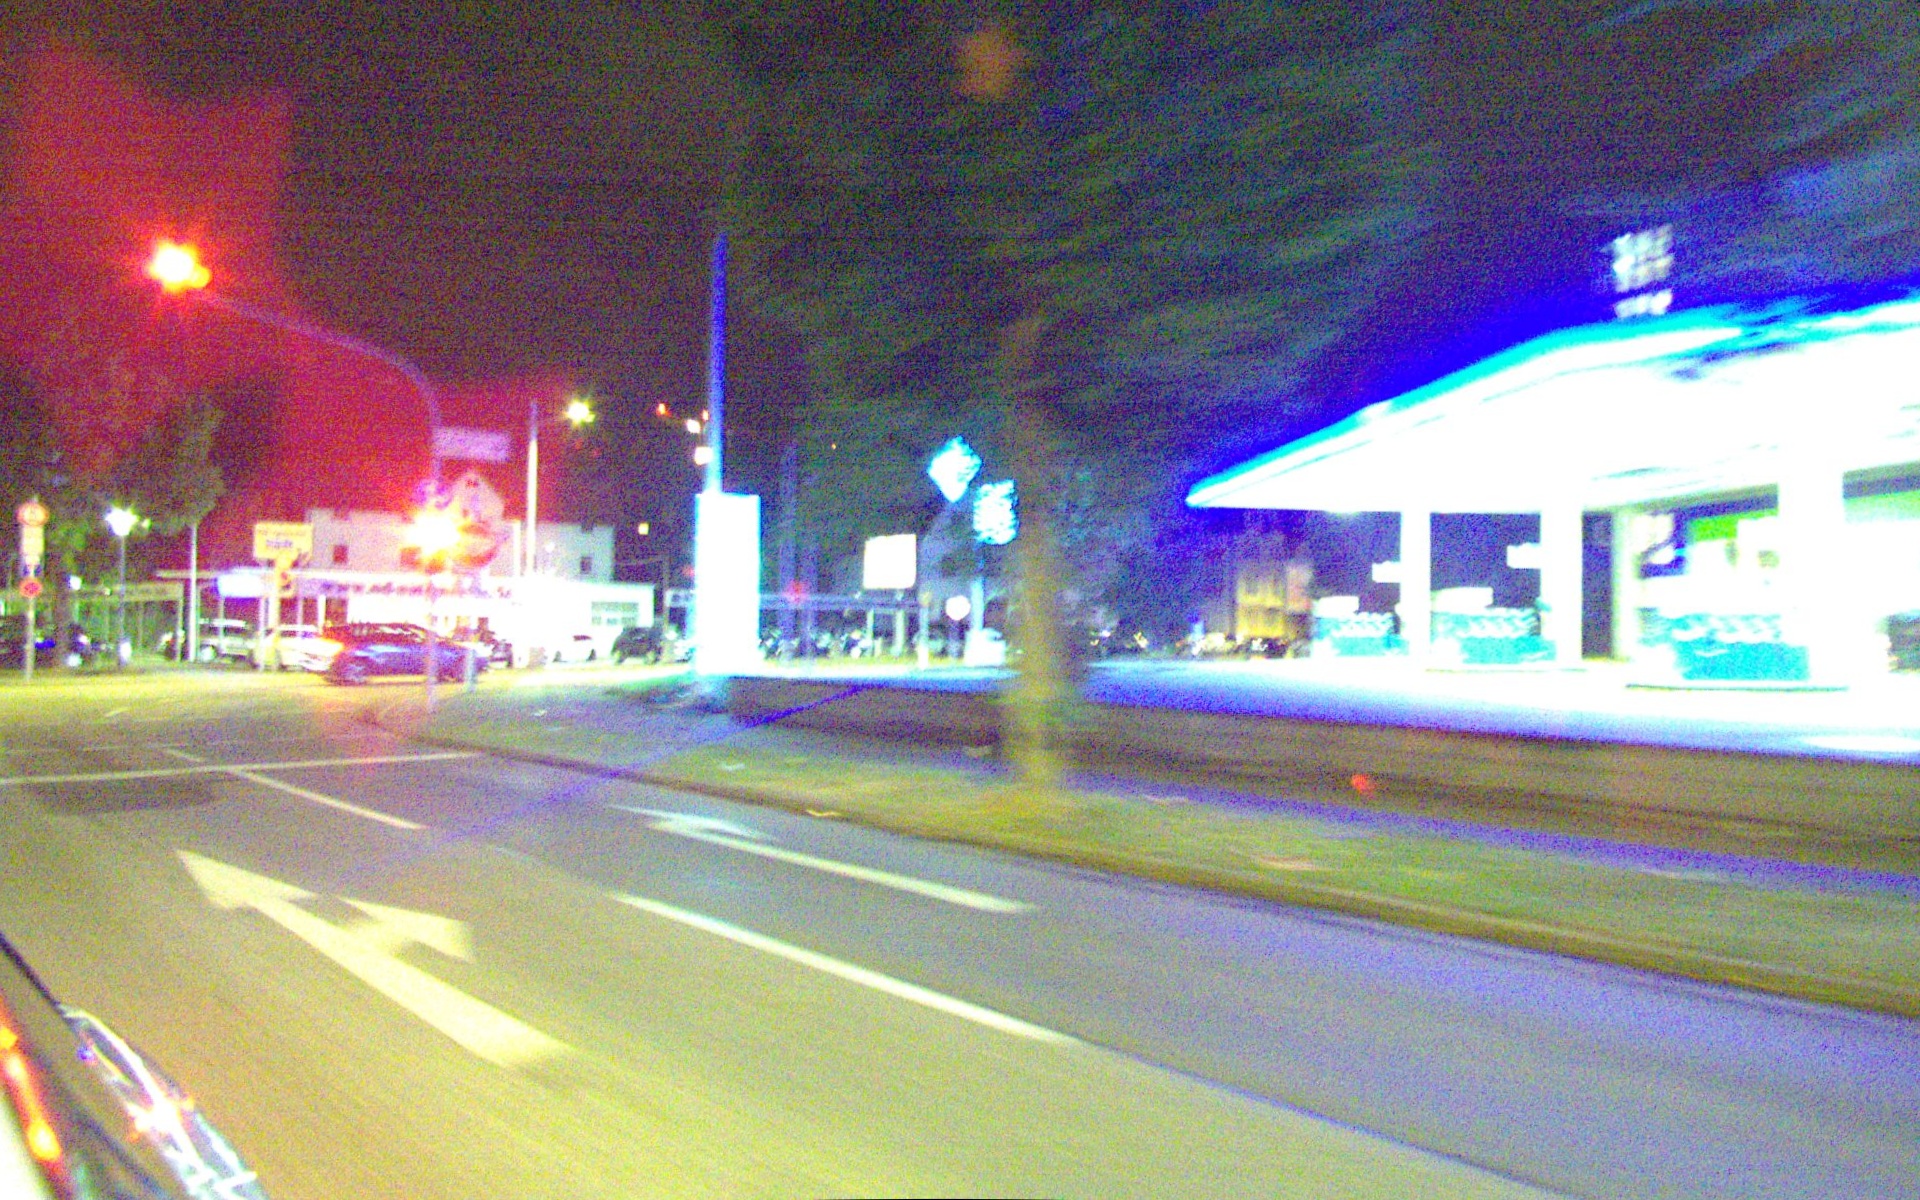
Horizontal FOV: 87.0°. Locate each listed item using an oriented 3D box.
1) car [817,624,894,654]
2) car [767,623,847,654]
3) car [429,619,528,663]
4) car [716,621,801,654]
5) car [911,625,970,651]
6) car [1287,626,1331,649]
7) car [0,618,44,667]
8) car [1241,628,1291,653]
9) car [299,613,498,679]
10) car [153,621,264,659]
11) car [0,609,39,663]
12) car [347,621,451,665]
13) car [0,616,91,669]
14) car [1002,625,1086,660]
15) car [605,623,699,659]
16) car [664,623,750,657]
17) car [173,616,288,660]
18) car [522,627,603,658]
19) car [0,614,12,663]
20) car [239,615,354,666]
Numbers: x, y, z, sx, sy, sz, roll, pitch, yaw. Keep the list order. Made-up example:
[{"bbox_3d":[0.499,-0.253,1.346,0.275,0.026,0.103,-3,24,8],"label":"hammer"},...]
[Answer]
[{"bbox_3d":[-5.453,1.985,52.698,3.954,1.489,1.743,-1,-1,40],"label":"car"},{"bbox_3d":[-7.706,1.904,50.800,4.023,1.489,1.759,-1,-1,40],"label":"car"},{"bbox_3d":[-18.285,1.531,38.381,4.066,1.565,1.840,-1,-1,40],"label":"car"},{"bbox_3d":[-9.665,1.760,48.306,4.083,1.489,1.840,-1,-1,40],"label":"car"},{"bbox_3d":[-1.225,2.296,61.846,3.411,1.512,1.589,-1,-1,41],"label":"car"},{"bbox_3d":[22.849,2.451,66.159,1.680,1.422,3.525,-1,-1,38],"label":"car"},{"bbox_3d":[-33.580,1.425,34.272,1.618,1.641,3.533,-1,-2,37],"label":"car"},{"bbox_3d":[18.335,2.394,60.497,1.680,1.422,3.525,-1,-1,38],"label":"car"},{"bbox_3d":[-14.594,1.146,26.471,1.686,1.571,4.256,-1,-1,42],"label":"car"},{"bbox_3d":[-32.617,1.735,43.974,1.632,1.598,3.532,-1,-3,38],"label":"car"},{"bbox_3d":[-35.445,1.255,35.785,1.631,1.905,4.006,-1,-2,37],"label":"car"},{"bbox_3d":[-19.991,1.514,36.012,4.066,1.472,1.840,-1,-3,40],"label":"car"},{"bbox_3d":[-29.568,1.300,31.371,1.631,1.598,3.718,-1,-2,37],"label":"car"},{"bbox_3d":[3.576,1.808,42.672,1.735,1.422,3.803,-1,-4,38],"label":"car"},{"bbox_3d":[-13.424,1.742,44.035,4.350,1.489,1.840,-1,-1,40],"label":"car"},{"bbox_3d":[-11.505,1.776,45.885,4.083,1.489,1.710,-1,-2,40],"label":"car"},{"bbox_3d":[-30.024,1.565,41.718,1.633,1.712,3.530,-1,-3,40],"label":"car"},{"bbox_3d":[-19.787,2.089,50.538,1.716,1.489,4.258,0,-1,12],"label":"car"},{"bbox_3d":[-37.410,1.386,36.977,1.631,1.805,3.802,-1,-2,37],"label":"car"},{"bbox_3d":[-22.170,1.312,33.780,4.382,1.569,1.974,-1,-1,39],"label":"car"}]
